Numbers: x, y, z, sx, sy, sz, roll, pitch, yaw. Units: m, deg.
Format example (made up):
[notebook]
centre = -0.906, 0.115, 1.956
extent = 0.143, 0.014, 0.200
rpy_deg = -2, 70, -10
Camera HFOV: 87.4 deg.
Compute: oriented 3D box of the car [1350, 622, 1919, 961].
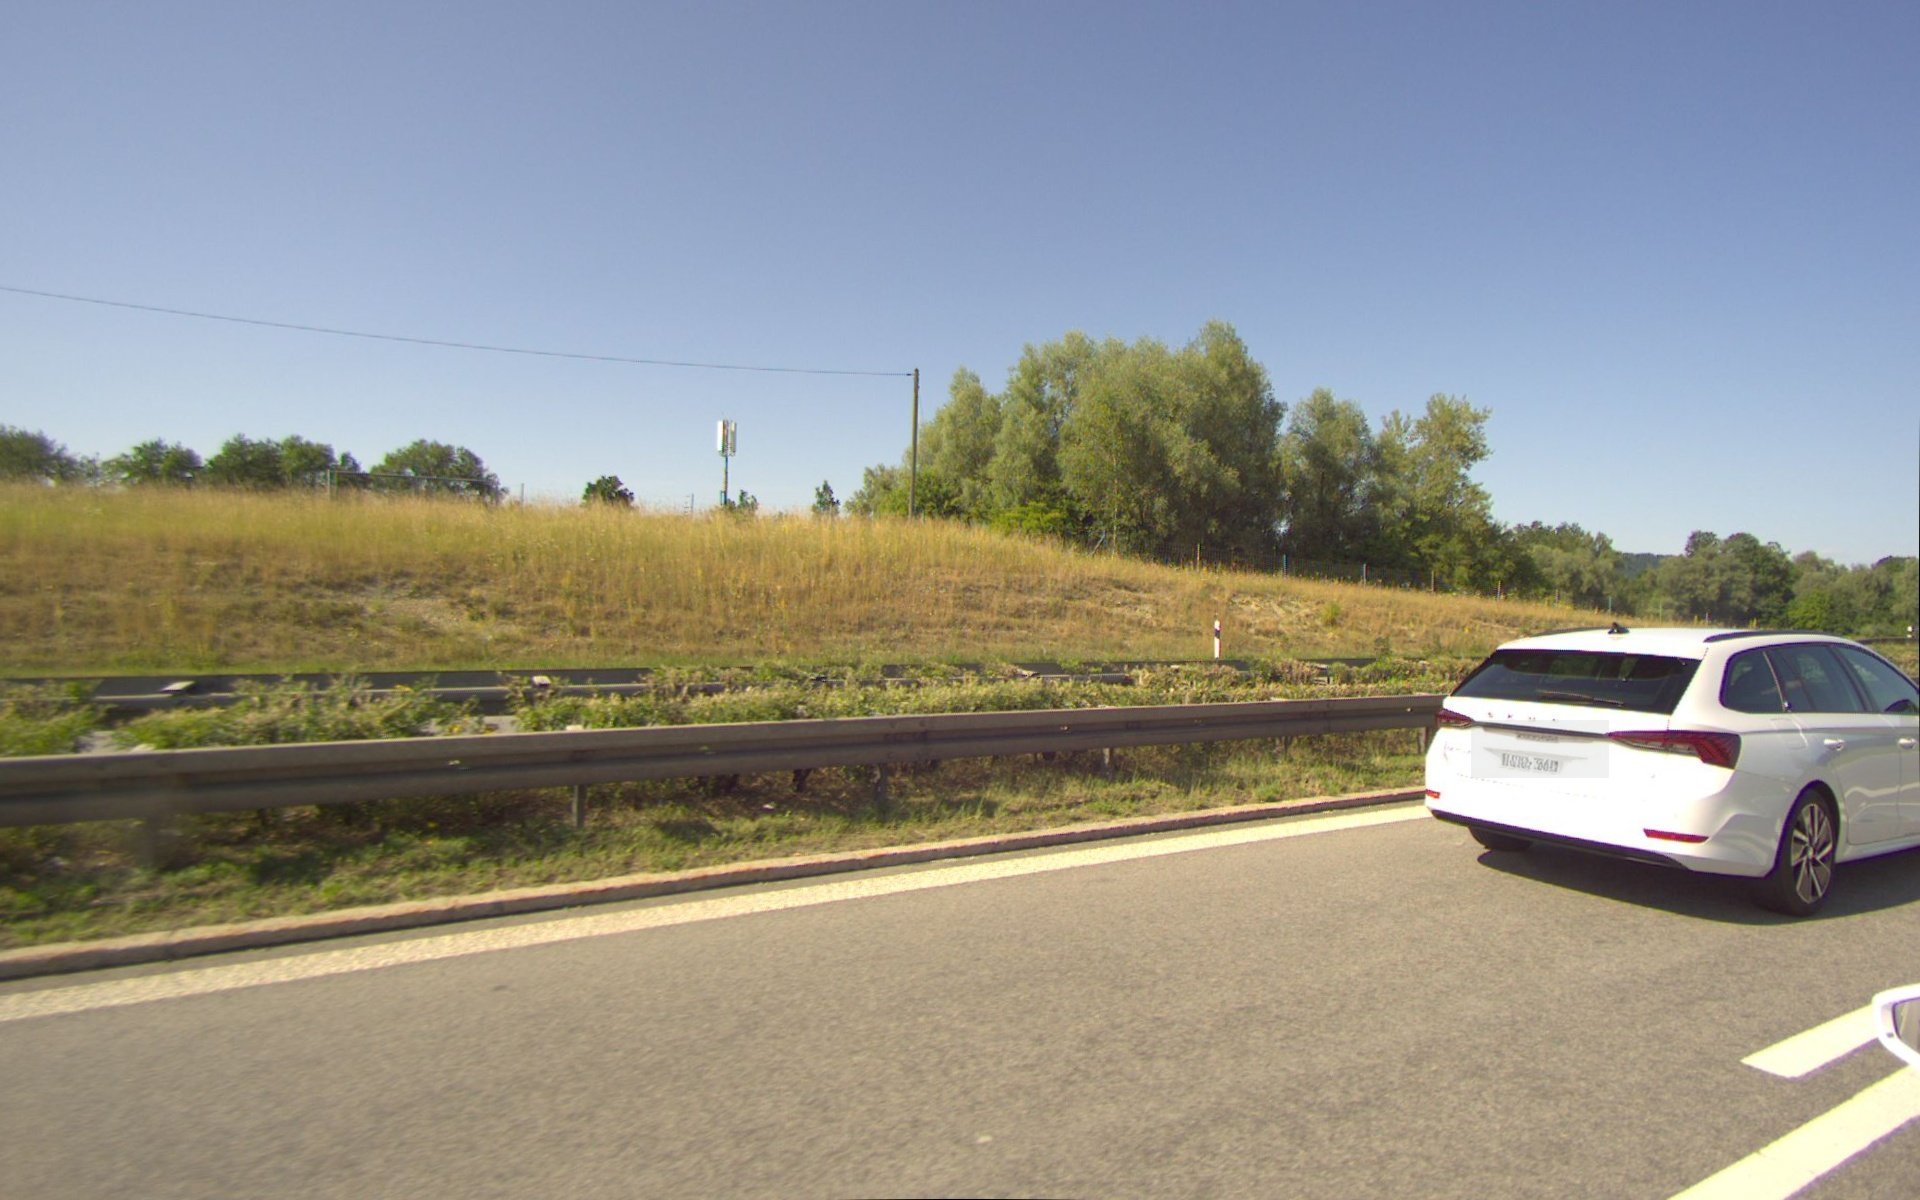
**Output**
[car]
centre = 5.019, 0.906, 6.503
extent = 5.193, 1.440, 1.831
rpy_deg = 1, 0, -30
